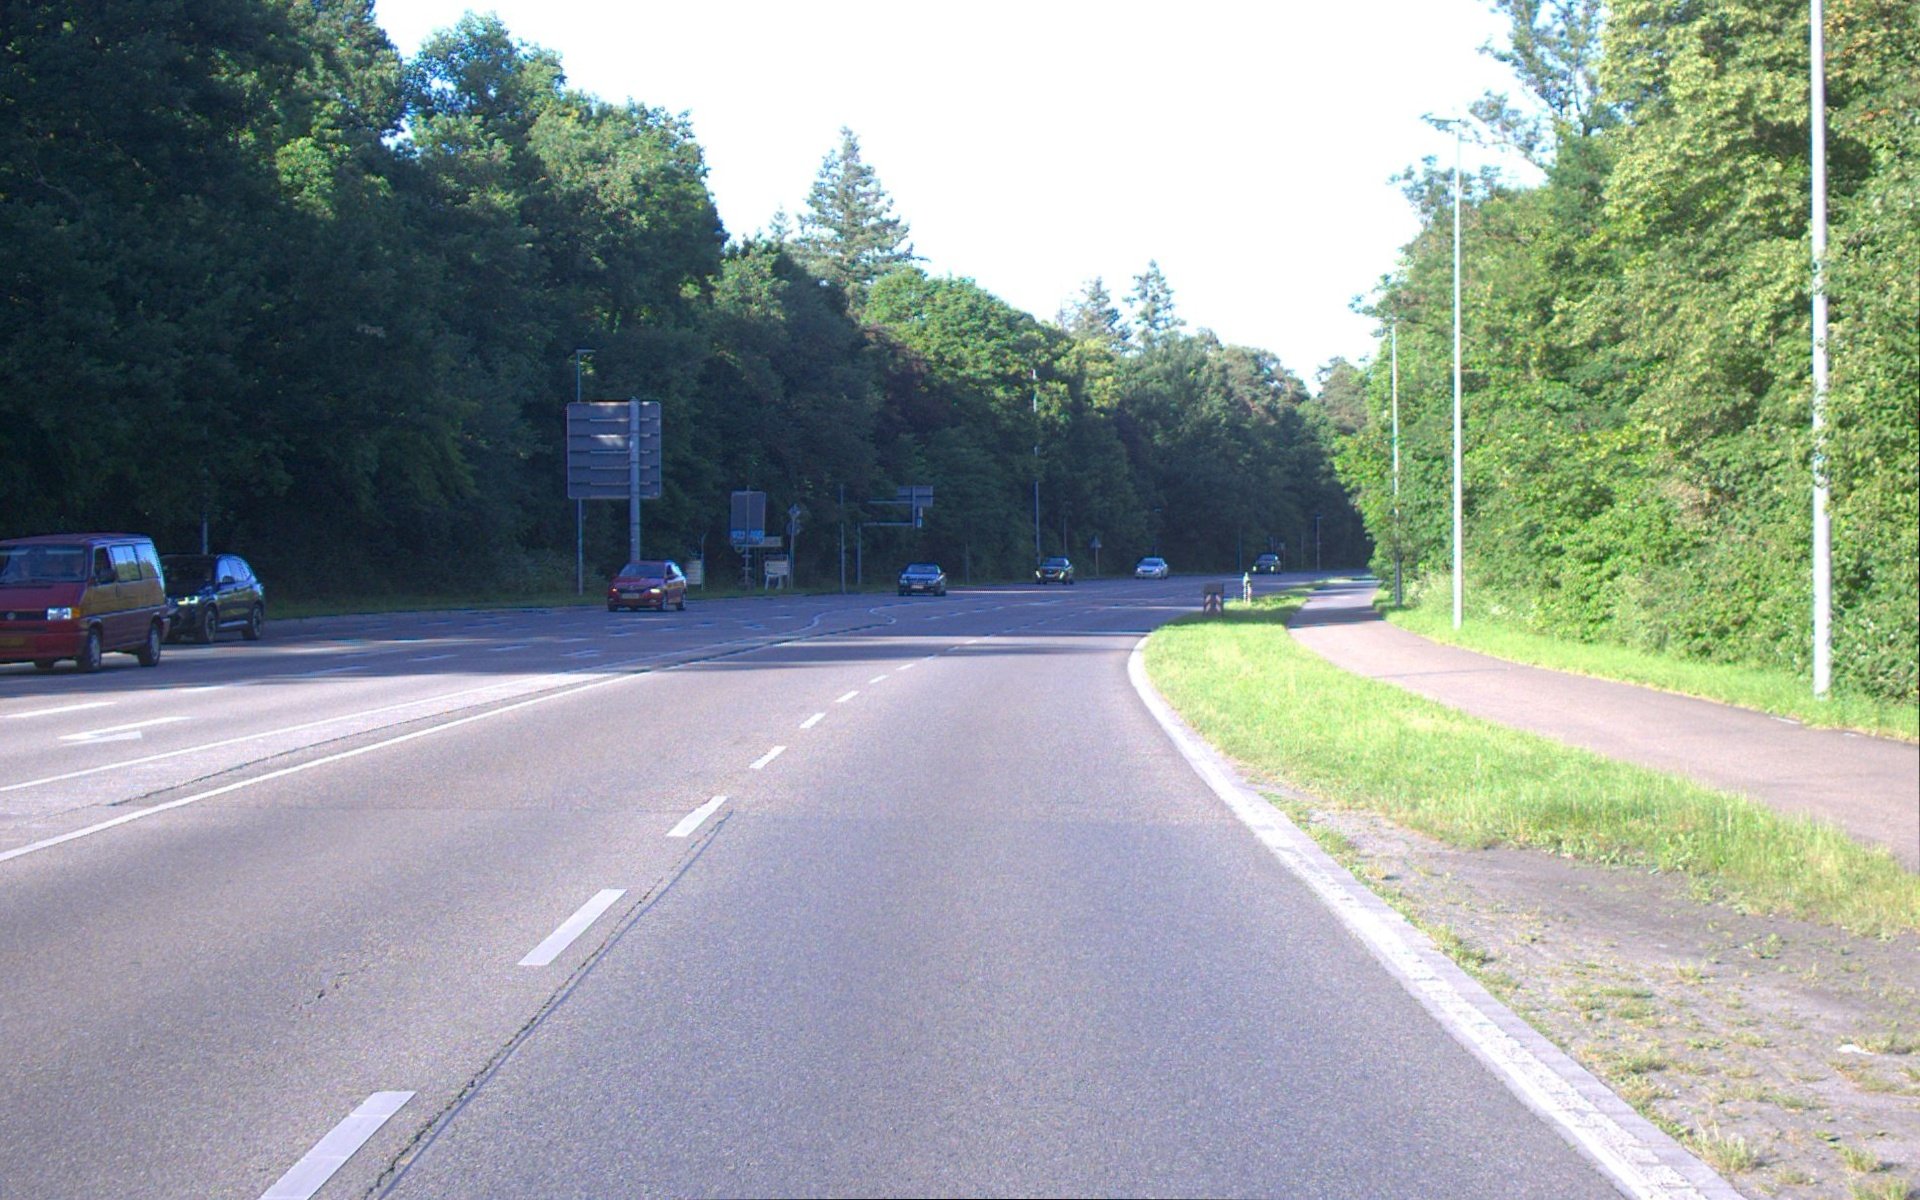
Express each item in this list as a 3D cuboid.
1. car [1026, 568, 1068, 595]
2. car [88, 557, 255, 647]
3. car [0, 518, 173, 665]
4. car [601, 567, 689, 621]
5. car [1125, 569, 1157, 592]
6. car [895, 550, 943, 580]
[{"bbox_3d":[4.999,-1.054,197.400,1.825,1.539,4.255,1,0,10],"label":"car"},{"bbox_3d":[-14.908,0.017,65.256,1.993,1.631,4.844,0,0,1],"label":"car"},{"bbox_3d":[-12.634,-0.120,48.329,1.993,1.955,4.648,-1,0,1],"label":"car"},{"bbox_3d":[-9.227,-0.195,101.102,1.994,1.559,4.338,0,0,3],"label":"car"},{"bbox_3d":[12.520,-1.339,237.345,1.825,1.499,4.305,1,0,8],"label":"car"},{"bbox_3d":[-1.704,-1.462,144.959,1.744,1.230,4.673,0,0,3],"label":"car"}]
